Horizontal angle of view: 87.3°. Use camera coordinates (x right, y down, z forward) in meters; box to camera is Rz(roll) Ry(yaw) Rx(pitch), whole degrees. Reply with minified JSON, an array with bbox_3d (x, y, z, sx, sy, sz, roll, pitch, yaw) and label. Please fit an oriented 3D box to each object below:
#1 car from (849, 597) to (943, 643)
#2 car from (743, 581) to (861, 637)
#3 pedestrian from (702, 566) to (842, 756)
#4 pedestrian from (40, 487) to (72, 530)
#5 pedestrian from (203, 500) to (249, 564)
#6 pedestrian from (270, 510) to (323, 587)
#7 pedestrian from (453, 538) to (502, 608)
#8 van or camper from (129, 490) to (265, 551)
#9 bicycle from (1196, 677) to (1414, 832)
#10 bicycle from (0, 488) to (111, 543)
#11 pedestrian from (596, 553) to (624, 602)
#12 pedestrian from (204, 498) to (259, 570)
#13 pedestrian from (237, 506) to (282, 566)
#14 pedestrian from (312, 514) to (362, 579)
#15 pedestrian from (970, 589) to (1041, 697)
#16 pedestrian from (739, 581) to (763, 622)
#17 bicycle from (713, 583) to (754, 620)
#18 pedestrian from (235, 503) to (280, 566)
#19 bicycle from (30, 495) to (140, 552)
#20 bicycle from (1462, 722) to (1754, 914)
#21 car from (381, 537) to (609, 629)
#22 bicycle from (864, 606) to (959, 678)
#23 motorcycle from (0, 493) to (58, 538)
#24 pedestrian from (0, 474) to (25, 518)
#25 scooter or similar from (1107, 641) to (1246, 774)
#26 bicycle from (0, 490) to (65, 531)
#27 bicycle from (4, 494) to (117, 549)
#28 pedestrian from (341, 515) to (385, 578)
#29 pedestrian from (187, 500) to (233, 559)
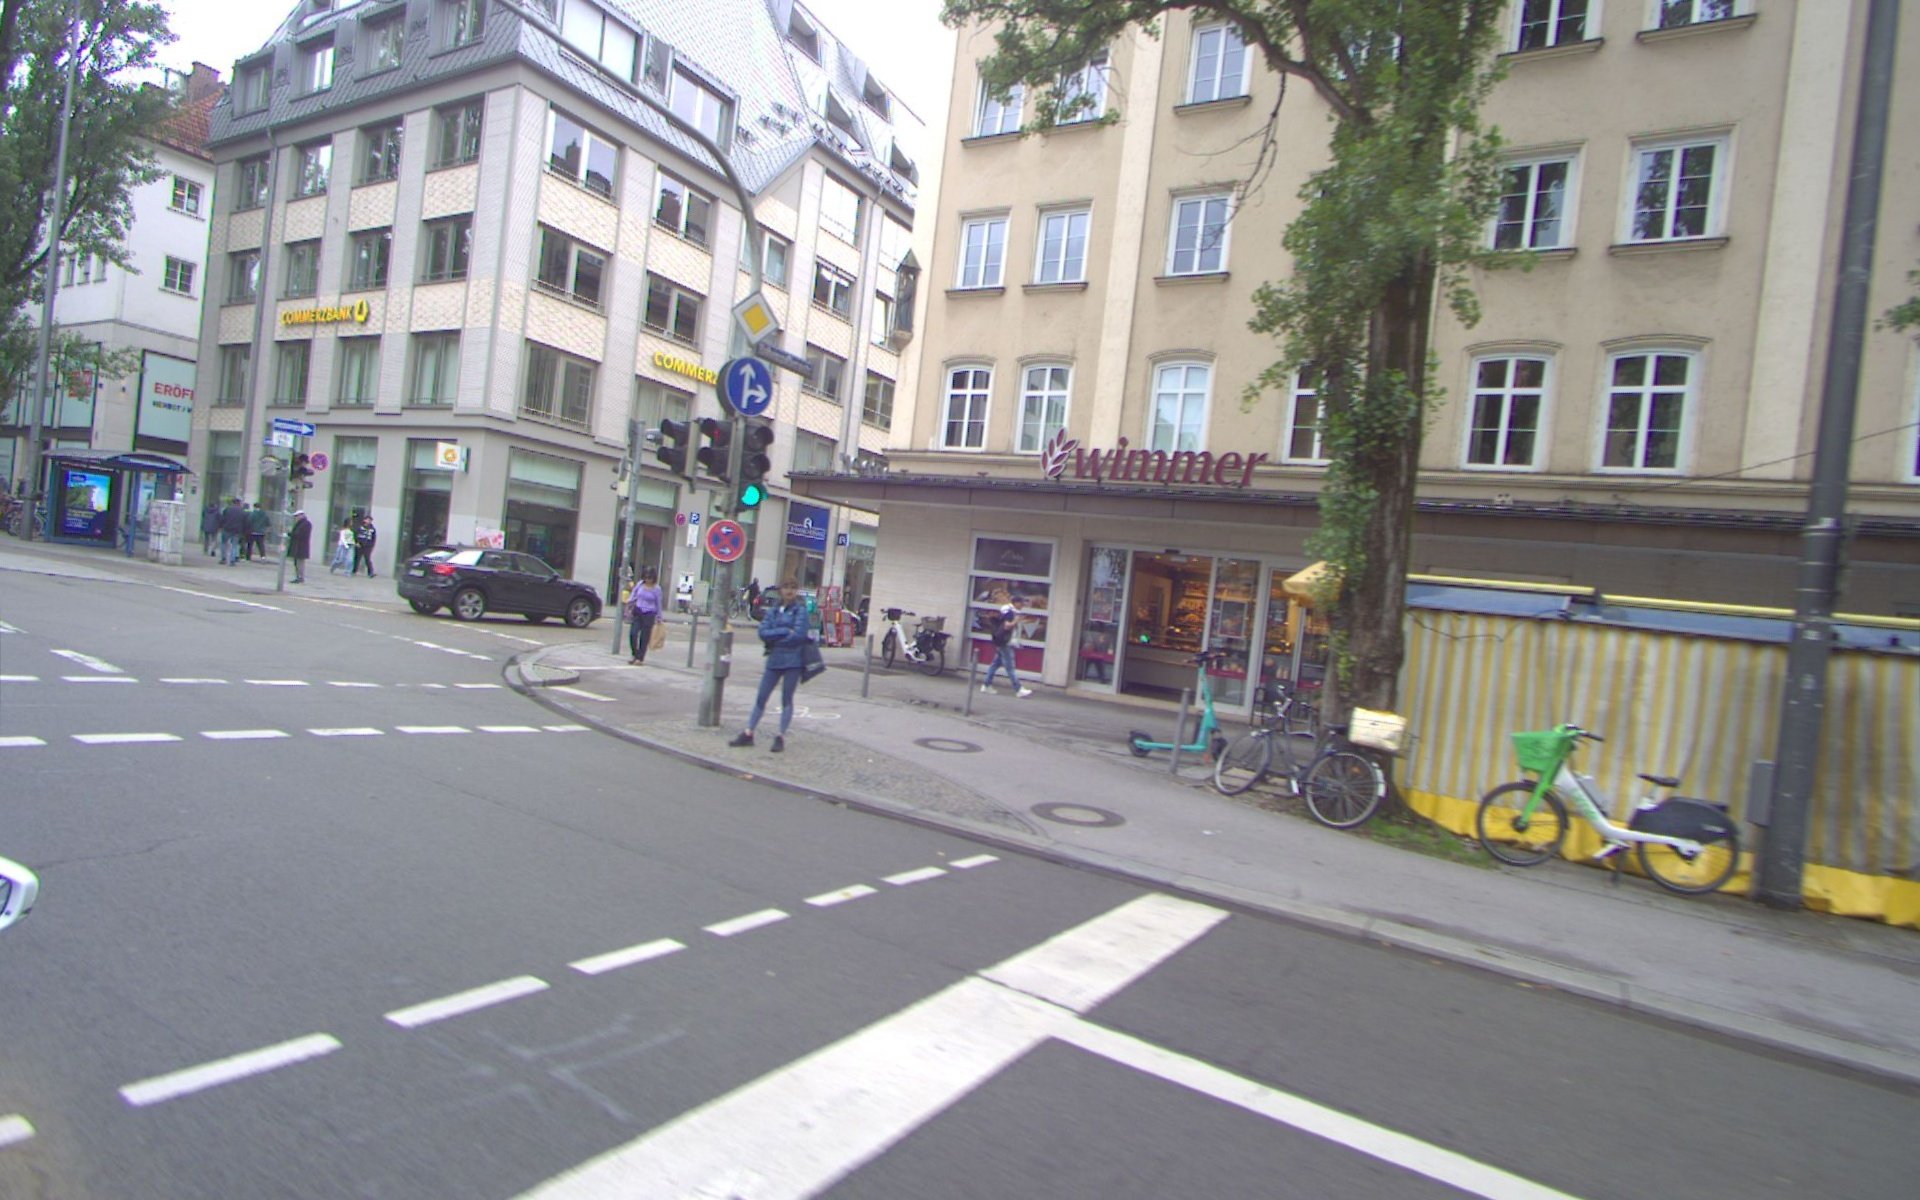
[{"bbox_3d":[-2.482,0.827,39.820,1.730,1.479,3.690,8,1,32],"label":"car"},{"bbox_3d":[-5.430,0.357,34.982,1.730,1.568,3.990,8,1,32],"label":"car"},{"bbox_3d":[-1.775,0.561,9.524,0.849,1.630,0.766,7,2,27],"label":"pedestrian"},{"bbox_3d":[-37.672,-3.820,41.940,0.947,1.684,0.652,7,1,32],"label":"pedestrian"},{"bbox_3d":[-21.615,-2.000,29.628,0.845,1.780,0.750,5,1,33],"label":"pedestrian"},{"bbox_3d":[-16.437,-1.272,24.929,0.740,1.780,0.709,7,1,33],"label":"pedestrian"},{"bbox_3d":[-12.078,-0.670,25.192,0.722,1.658,0.750,5,2,34],"label":"pedestrian"},{"bbox_3d":[-32.341,-3.355,42.728,1.868,1.889,4.107,7,-1,35],"label":"van or camper"},{"bbox_3d":[3.137,1.388,9.299,0.404,1.081,1.789,12,-4,-42],"label":"bicycle"},{"bbox_3d":[-26.379,-2.432,29.306,0.622,1.268,2.346,8,1,31],"label":"bicycle"},{"bbox_3d":[-11.721,-0.747,33.694,0.574,1.550,0.444,7,1,28],"label":"pedestrian"},{"bbox_3d":[-20.214,-1.832,27.909,0.875,1.841,0.819,7,1,30],"label":"pedestrian"},{"bbox_3d":[-21.995,-2.004,31.585,0.947,1.739,0.750,7,1,33],"label":"pedestrian"},{"bbox_3d":[-18.274,-1.564,29.491,1.000,1.780,0.750,7,1,33],"label":"pedestrian"},{"bbox_3d":[0.771,0.725,17.004,0.847,1.724,0.664,5,1,33],"label":"pedestrian"},{"bbox_3d":[-7.601,0.047,36.601,0.574,1.423,0.444,7,1,28],"label":"pedestrian"},{"bbox_3d":[-8.223,0.062,36.652,0.440,1.227,1.743,7,1,21],"label":"bicycle"},{"bbox_3d":[-21.122,-1.969,30.257,0.845,1.780,0.750,5,1,33],"label":"pedestrian"},{"bbox_3d":[-24.699,-2.145,28.449,2.225,1.268,0.472,7,1,-35],"label":"bicycle"},{"bbox_3d":[4.928,1.625,7.779,1.740,1.061,0.509,7,1,30],"label":"bicycle"},{"bbox_3d":[-9.695,-0.304,21.262,1.731,1.479,3.989,8,1,33],"label":"car"},{"bbox_3d":[-0.961,0.816,19.761,1.781,1.185,0.435,7,0,30],"label":"bicycle"},{"bbox_3d":[-27.472,-2.486,29.253,0.501,1.154,1.726,8,1,32],"label":"motorcycle"},{"bbox_3d":[-38.856,-4.244,40.830,0.811,1.695,0.985,7,1,-7],"label":"pedestrian"},{"bbox_3d":[2.400,1.171,11.190,1.345,1.259,0.408,7,1,15],"label":"scooter or similar"},{"bbox_3d":[-28.730,-2.773,30.517,0.860,1.030,2.150,7,1,31],"label":"bicycle"},{"bbox_3d":[-25.892,-2.247,29.005,0.469,1.268,2.318,8,1,31],"label":"bicycle"},{"bbox_3d":[-17.933,-1.611,30.236,0.699,1.780,0.750,8,1,33],"label":"pedestrian"},{"bbox_3d":[-23.274,-2.188,31.226,0.947,1.699,0.750,8,2,33],"label":"pedestrian"}]
